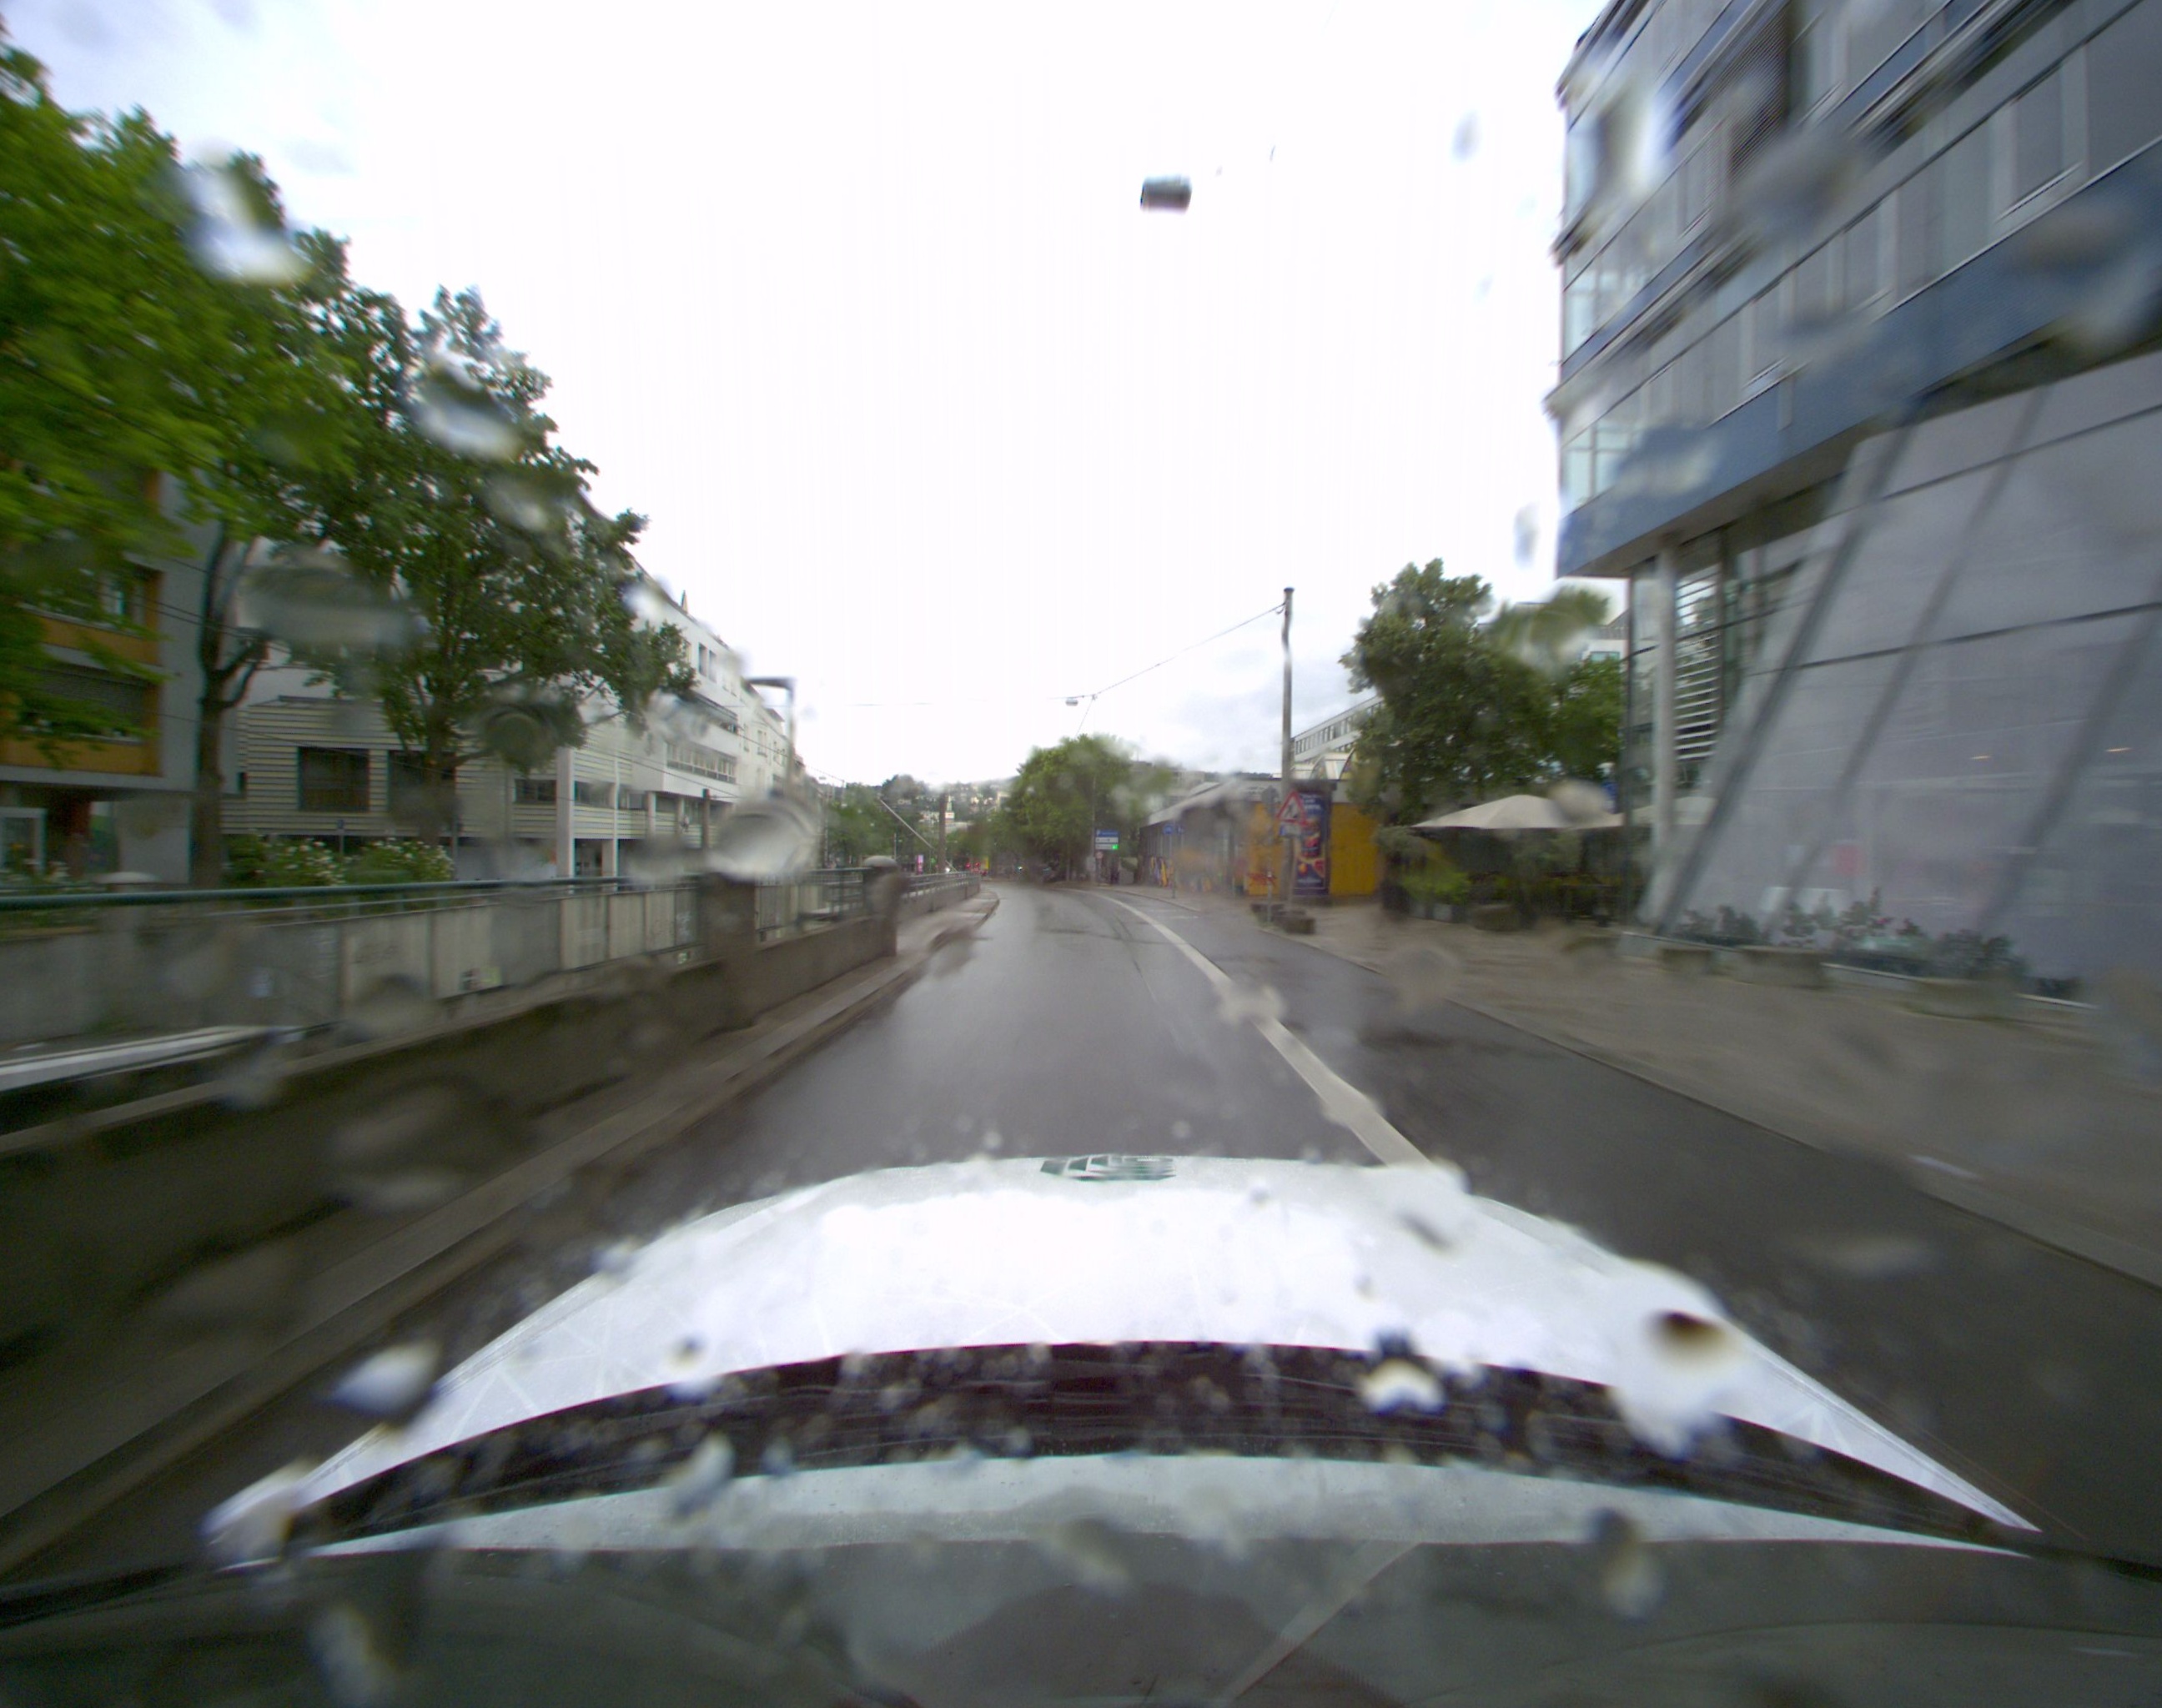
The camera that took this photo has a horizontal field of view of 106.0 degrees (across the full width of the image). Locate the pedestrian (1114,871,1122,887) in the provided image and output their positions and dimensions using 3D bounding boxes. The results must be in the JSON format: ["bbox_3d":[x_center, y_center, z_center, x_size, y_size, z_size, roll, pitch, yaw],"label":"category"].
[{"bbox_3d":[4.308,2.913,96.026,0.805,1.864,1.055,-1,-2,-3],"label":"pedestrian"}]

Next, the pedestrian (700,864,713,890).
[{"bbox_3d":[-23.527,1.463,51.124,0.675,1.616,0.934,1,-2,-27],"label":"pedestrian"}]

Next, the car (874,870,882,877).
[{"bbox_3d":[-48.017,4.622,192.728,1.782,1.555,3.876,1,0,-13],"label":"car"}]

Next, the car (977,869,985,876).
[{"bbox_3d":[-24.311,4.577,198.268,1.900,1.684,3.899,1,-2,-8],"label":"car"}]

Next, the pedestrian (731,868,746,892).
[{"bbox_3d":[-24.653,1.866,58.572,0.785,1.643,0.678,-1,-2,33],"label":"pedestrian"}]

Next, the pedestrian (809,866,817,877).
[{"bbox_3d":[-44.180,2.870,134.349,0.859,1.868,0.961,1,-2,6],"label":"pedestrian"}]

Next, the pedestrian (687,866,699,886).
[{"bbox_3d":[-27.954,1.559,58.679,0.607,1.419,0.672,0,-1,-8],"label":"pedestrian"}]

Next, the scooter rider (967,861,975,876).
[{"bbox_3d":[-14.003,1.845,103.666,0.810,1.948,0.818,1,-2,-15],"label":"scooter rider"}]

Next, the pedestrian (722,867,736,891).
[{"bbox_3d":[-25.553,1.829,59.141,0.601,1.722,0.678,-1,-2,38],"label":"pedestrian"}]

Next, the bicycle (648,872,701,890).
[{"bbox_3d":[-26.224,1.709,52.740,1.692,1.043,4.509,1,-1,-8],"label":"bicycle"}]

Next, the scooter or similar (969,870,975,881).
[{"bbox_3d":[-13.922,2.702,103.660,0.546,1.419,1.946,1,-2,-13],"label":"scooter or similar"}]

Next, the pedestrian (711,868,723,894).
[{"bbox_3d":[-25.646,1.883,57.387,0.675,1.785,0.934,1,-2,-27],"label":"pedestrian"}]
